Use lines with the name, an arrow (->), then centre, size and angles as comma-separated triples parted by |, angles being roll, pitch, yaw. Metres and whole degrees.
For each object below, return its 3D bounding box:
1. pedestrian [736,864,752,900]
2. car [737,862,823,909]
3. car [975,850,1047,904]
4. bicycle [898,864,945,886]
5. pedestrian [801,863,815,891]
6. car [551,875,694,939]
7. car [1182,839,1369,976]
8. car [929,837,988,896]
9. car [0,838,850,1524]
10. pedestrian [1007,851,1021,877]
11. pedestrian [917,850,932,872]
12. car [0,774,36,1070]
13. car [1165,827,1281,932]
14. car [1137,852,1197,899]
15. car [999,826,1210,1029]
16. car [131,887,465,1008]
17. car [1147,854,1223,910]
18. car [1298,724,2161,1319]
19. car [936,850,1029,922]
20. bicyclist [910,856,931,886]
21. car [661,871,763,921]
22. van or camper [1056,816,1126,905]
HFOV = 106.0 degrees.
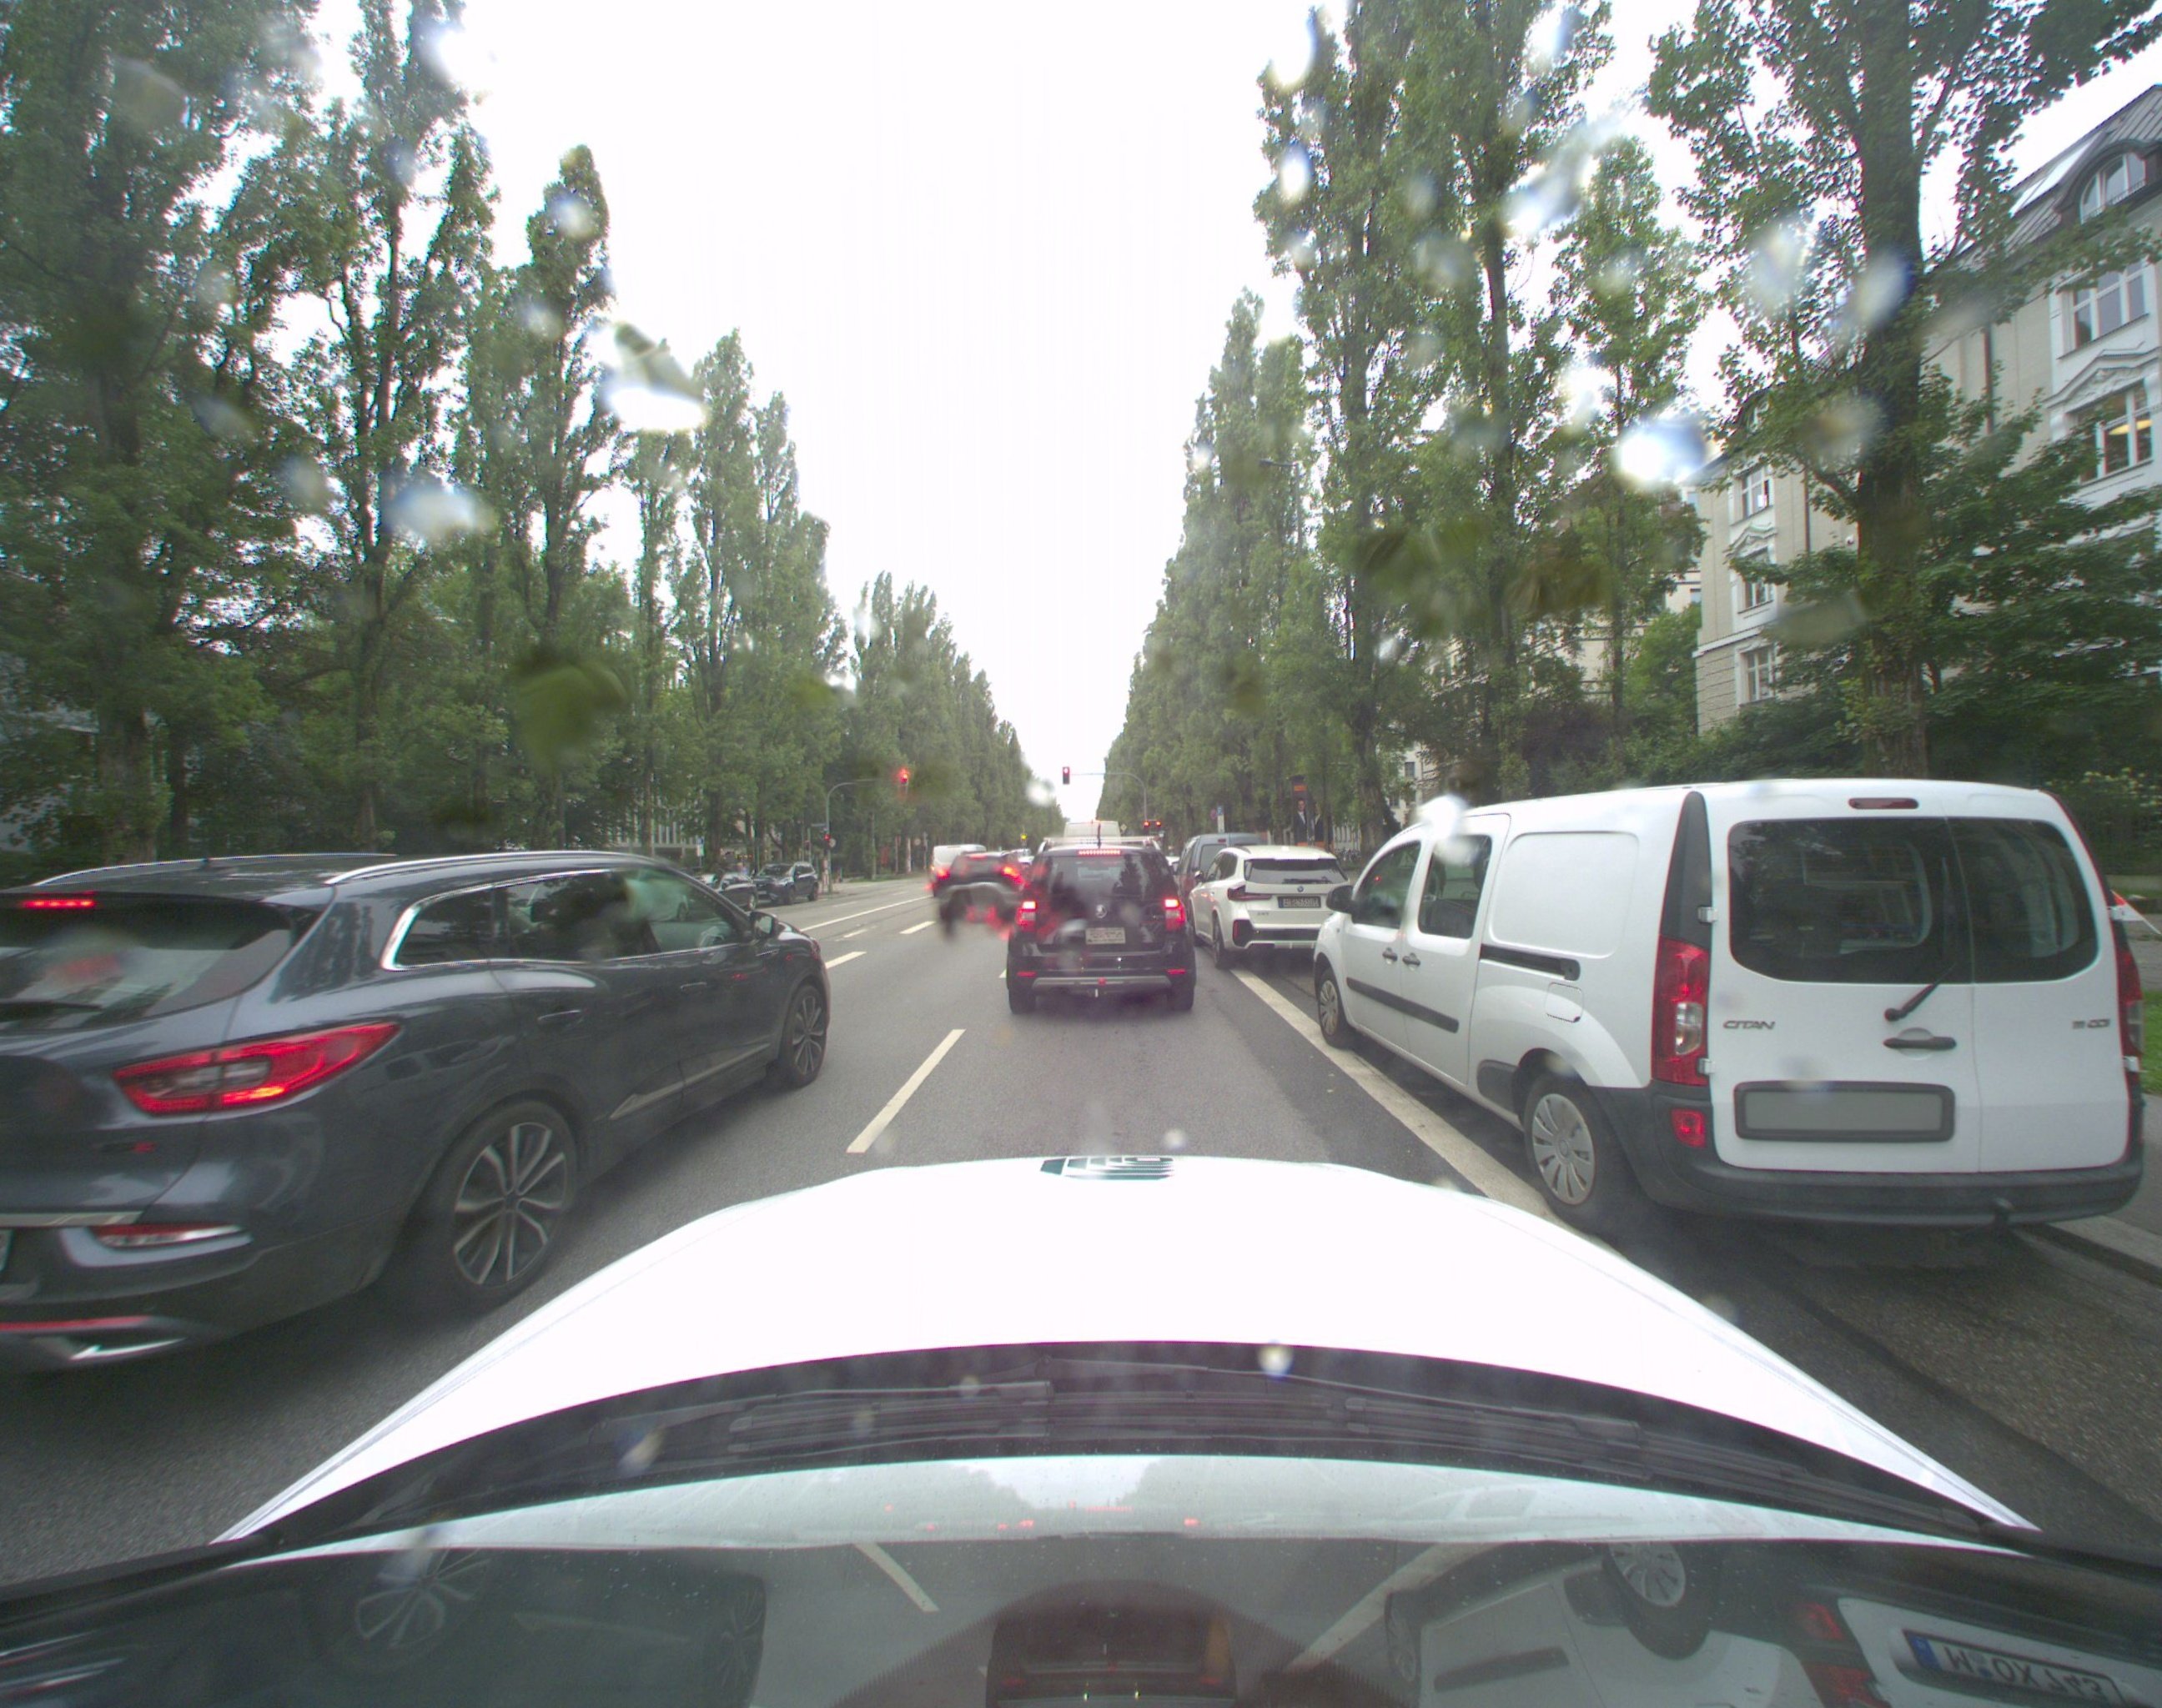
pedestrian -> -14.829, 1.228, 35.827 | 0.463, 1.528, 0.395 | -2, 0, 1
car -> -12.456, 1.248, 34.027 | 1.844, 1.654, 4.692 | -4, 0, -2
car -> -2.217, 0.706, 26.922 | 1.987, 1.560, 3.999 | -2, 1, 0
bicycle -> -9.438, 1.239, 48.184 | 2.519, 1.237, 0.815 | -2, 0, 10
pedestrian -> -14.879, 1.225, 44.351 | 0.515, 1.485, 0.536 | -2, 0, 1
car -> -12.516, 1.379, 22.571 | 1.619, 1.389, 4.164 | -4, 0, -2
car -> 2.605, 0.629, 11.894 | 1.735, 1.593, 4.212 | -2, 0, 1
car -> -4.779, 0.477, 32.283 | 1.777, 2.111, 4.021 | -2, 0, -2
car -> -2.783, 0.767, 4.019 | 1.827, 1.586, 4.189 | -1, 0, 4
pedestrian -> -5.221, 0.774, 63.195 | 0.881, 2.013, 1.014 | -2, 0, 3
pedestrian -> -12.465, 0.556, 65.008 | 0.875, 1.764, 0.880 | -2, 0, 10
car -> -10.220, 0.642, 3.643 | 2.221, 2.483, 6.757 | -4, 0, 0
car -> 2.847, 0.466, 17.167 | 1.729, 1.895, 4.025 | -2, 0, 1
car -> 2.952, 0.705, 28.545 | 1.729, 1.475, 3.563 | -2, 0, 1
car -> 0.240, 0.639, 9.128 | 1.849, 1.770, 4.001 | 0, 0, 1
car -> -12.572, 1.409, 13.479 | 1.595, 1.425, 3.853 | -5, 0, 2
car -> 2.891, 0.734, 23.242 | 1.729, 1.387, 3.563 | -2, 0, 1
car -> 2.768, 0.530, 4.754 | 1.845, 1.881, 4.168 | -2, 0, 0
car -> -2.359, 0.709, 20.388 | 1.775, 1.620, 4.025 | 0, 0, 1
bicyclist -> -9.498, 0.982, 48.195 | 0.900, 1.722, 0.827 | -2, 0, 10
car -> -12.580, 1.399, 28.077 | 1.619, 1.389, 4.164 | -4, 0, -2
van or camper -> 0.274, 0.174, 25.914 | 1.969, 2.548, 4.023 | -2, 0, -1
